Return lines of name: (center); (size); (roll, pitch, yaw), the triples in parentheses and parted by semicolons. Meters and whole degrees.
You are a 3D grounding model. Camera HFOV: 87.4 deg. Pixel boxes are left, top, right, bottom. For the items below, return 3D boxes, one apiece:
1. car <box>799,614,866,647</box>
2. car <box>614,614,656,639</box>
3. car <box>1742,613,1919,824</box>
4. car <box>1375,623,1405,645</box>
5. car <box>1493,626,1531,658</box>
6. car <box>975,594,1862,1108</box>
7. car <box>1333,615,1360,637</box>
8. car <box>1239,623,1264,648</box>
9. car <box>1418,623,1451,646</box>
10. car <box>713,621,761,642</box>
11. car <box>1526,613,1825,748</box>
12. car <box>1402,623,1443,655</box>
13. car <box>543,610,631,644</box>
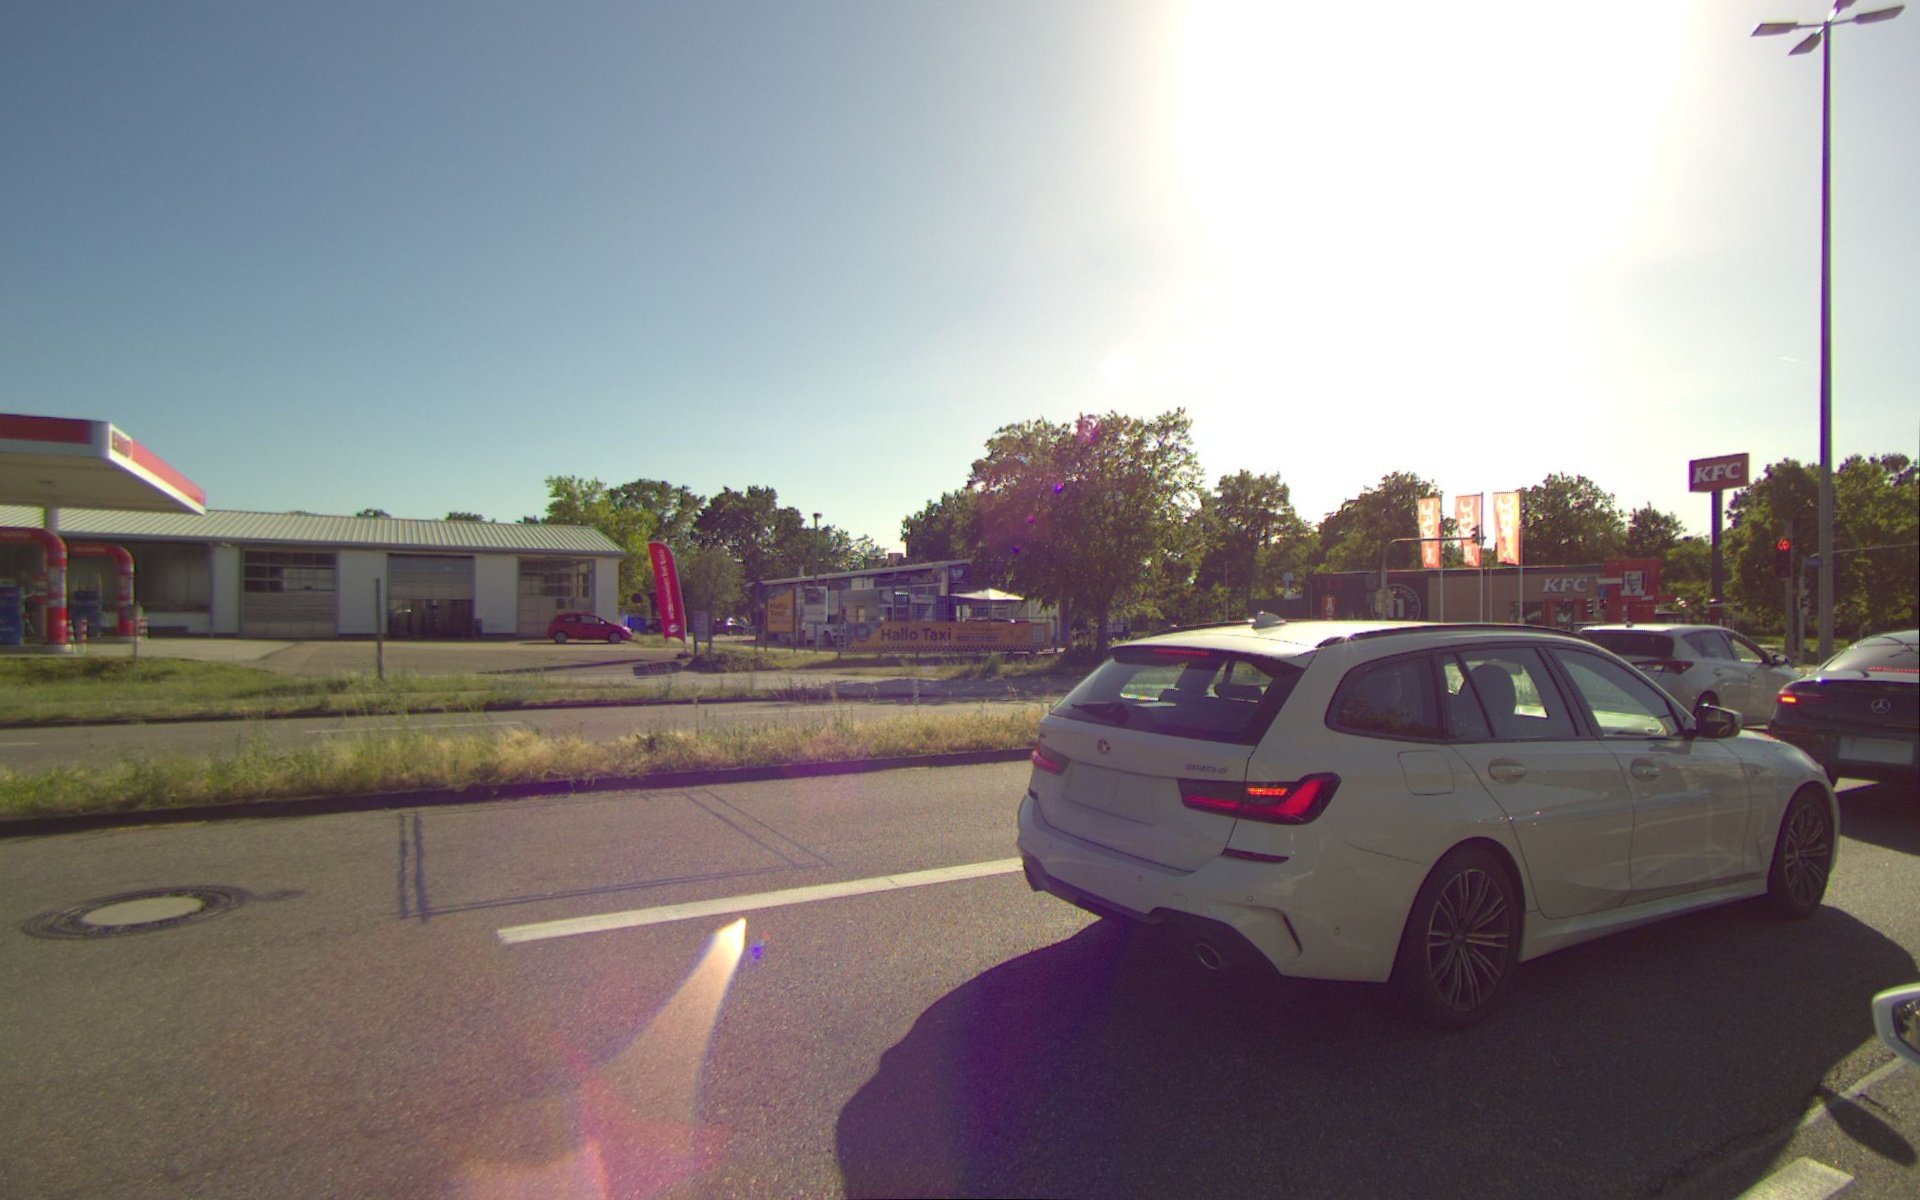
car: (-6.792, 1.602, 53.166); (1.978, 1.584, 3.964); (2, 0, -32)
car: (-19.356, 1.557, 59.766); (1.634, 1.383, 3.744); (2, 0, -29)
car: (8.780, 0.932, 8.638); (4.425, 1.510, 1.787); (2, 0, -31)
car: (31.307, 2.454, 73.220); (1.629, 1.491, 3.919); (2, 0, 18)
car: (33.095, 2.480, 60.202); (1.880, 1.776, 4.349); (2, 0, 29)
car: (2.389, 0.799, 4.875); (4.353, 1.510, 1.776); (2, 0, -31)
car: (28.296, 1.903, 73.656); (1.629, 1.491, 3.919); (2, 0, 18)
car: (21.817, 2.632, 75.153); (1.629, 1.695, 3.945); (2, 0, 18)
car: (33.940, 2.463, 71.947); (1.629, 1.491, 3.919); (2, 0, 18)
car: (-19.410, 2.736, 87.522); (3.929, 1.634, 1.996); (2, 0, -11)
car: (9.591, 0.993, 13.395); (4.150, 1.510, 1.750); (2, 0, -31)
car: (28.349, 2.350, 61.520); (1.964, 1.788, 4.349); (2, 0, 29)
car: (-18.342, 1.346, 49.406); (3.946, 1.537, 1.772); (2, 0, -25)
